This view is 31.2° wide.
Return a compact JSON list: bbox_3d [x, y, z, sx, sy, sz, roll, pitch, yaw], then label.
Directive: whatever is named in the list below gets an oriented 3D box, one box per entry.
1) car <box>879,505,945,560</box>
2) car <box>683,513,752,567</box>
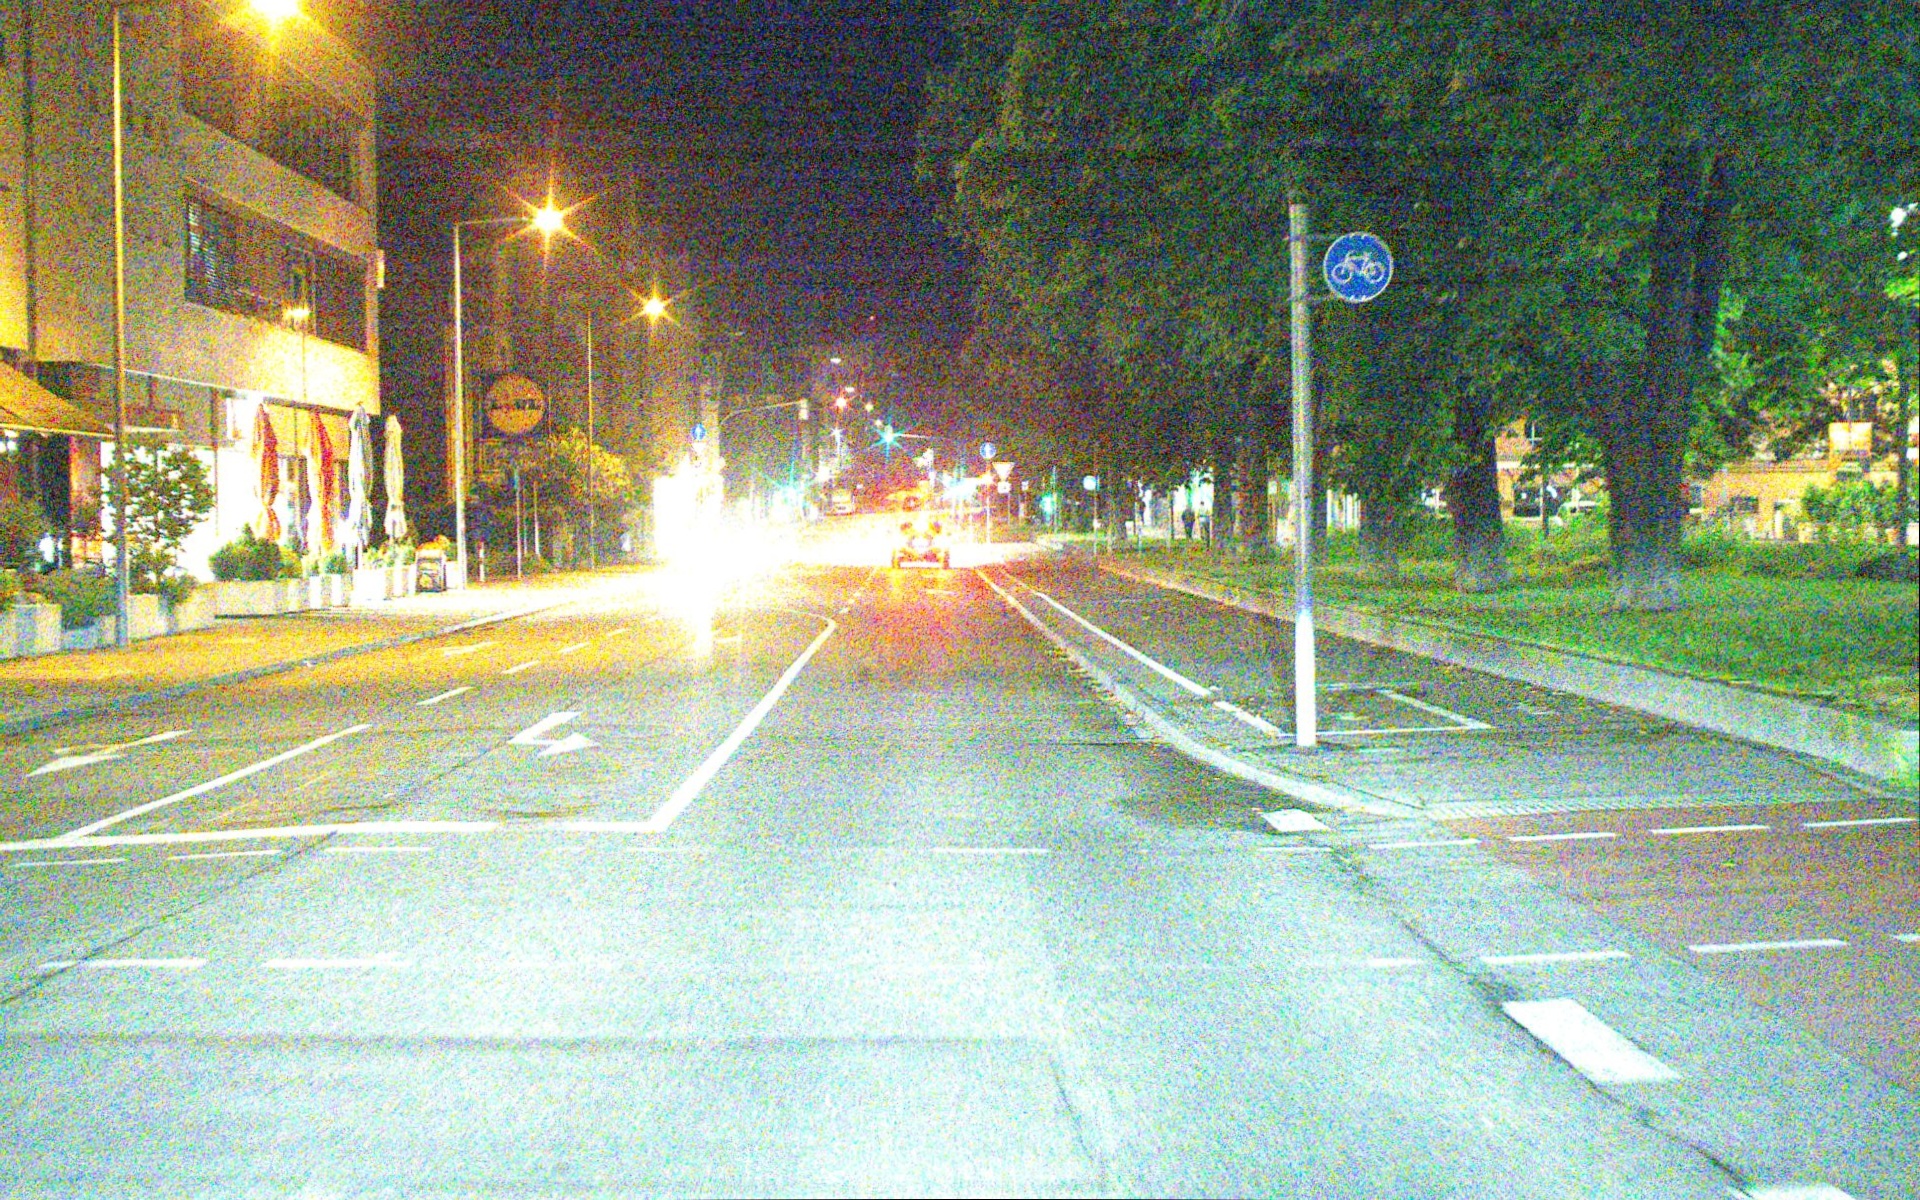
[{"bbox_3d":[-1.503,-2.129,108.295,1.993,1.637,4.000,-2,1,-1],"label":"car"},{"bbox_3d":[-7.815,-1.946,110.914,1.993,1.637,4.001,-2,1,-2],"label":"car"}]
